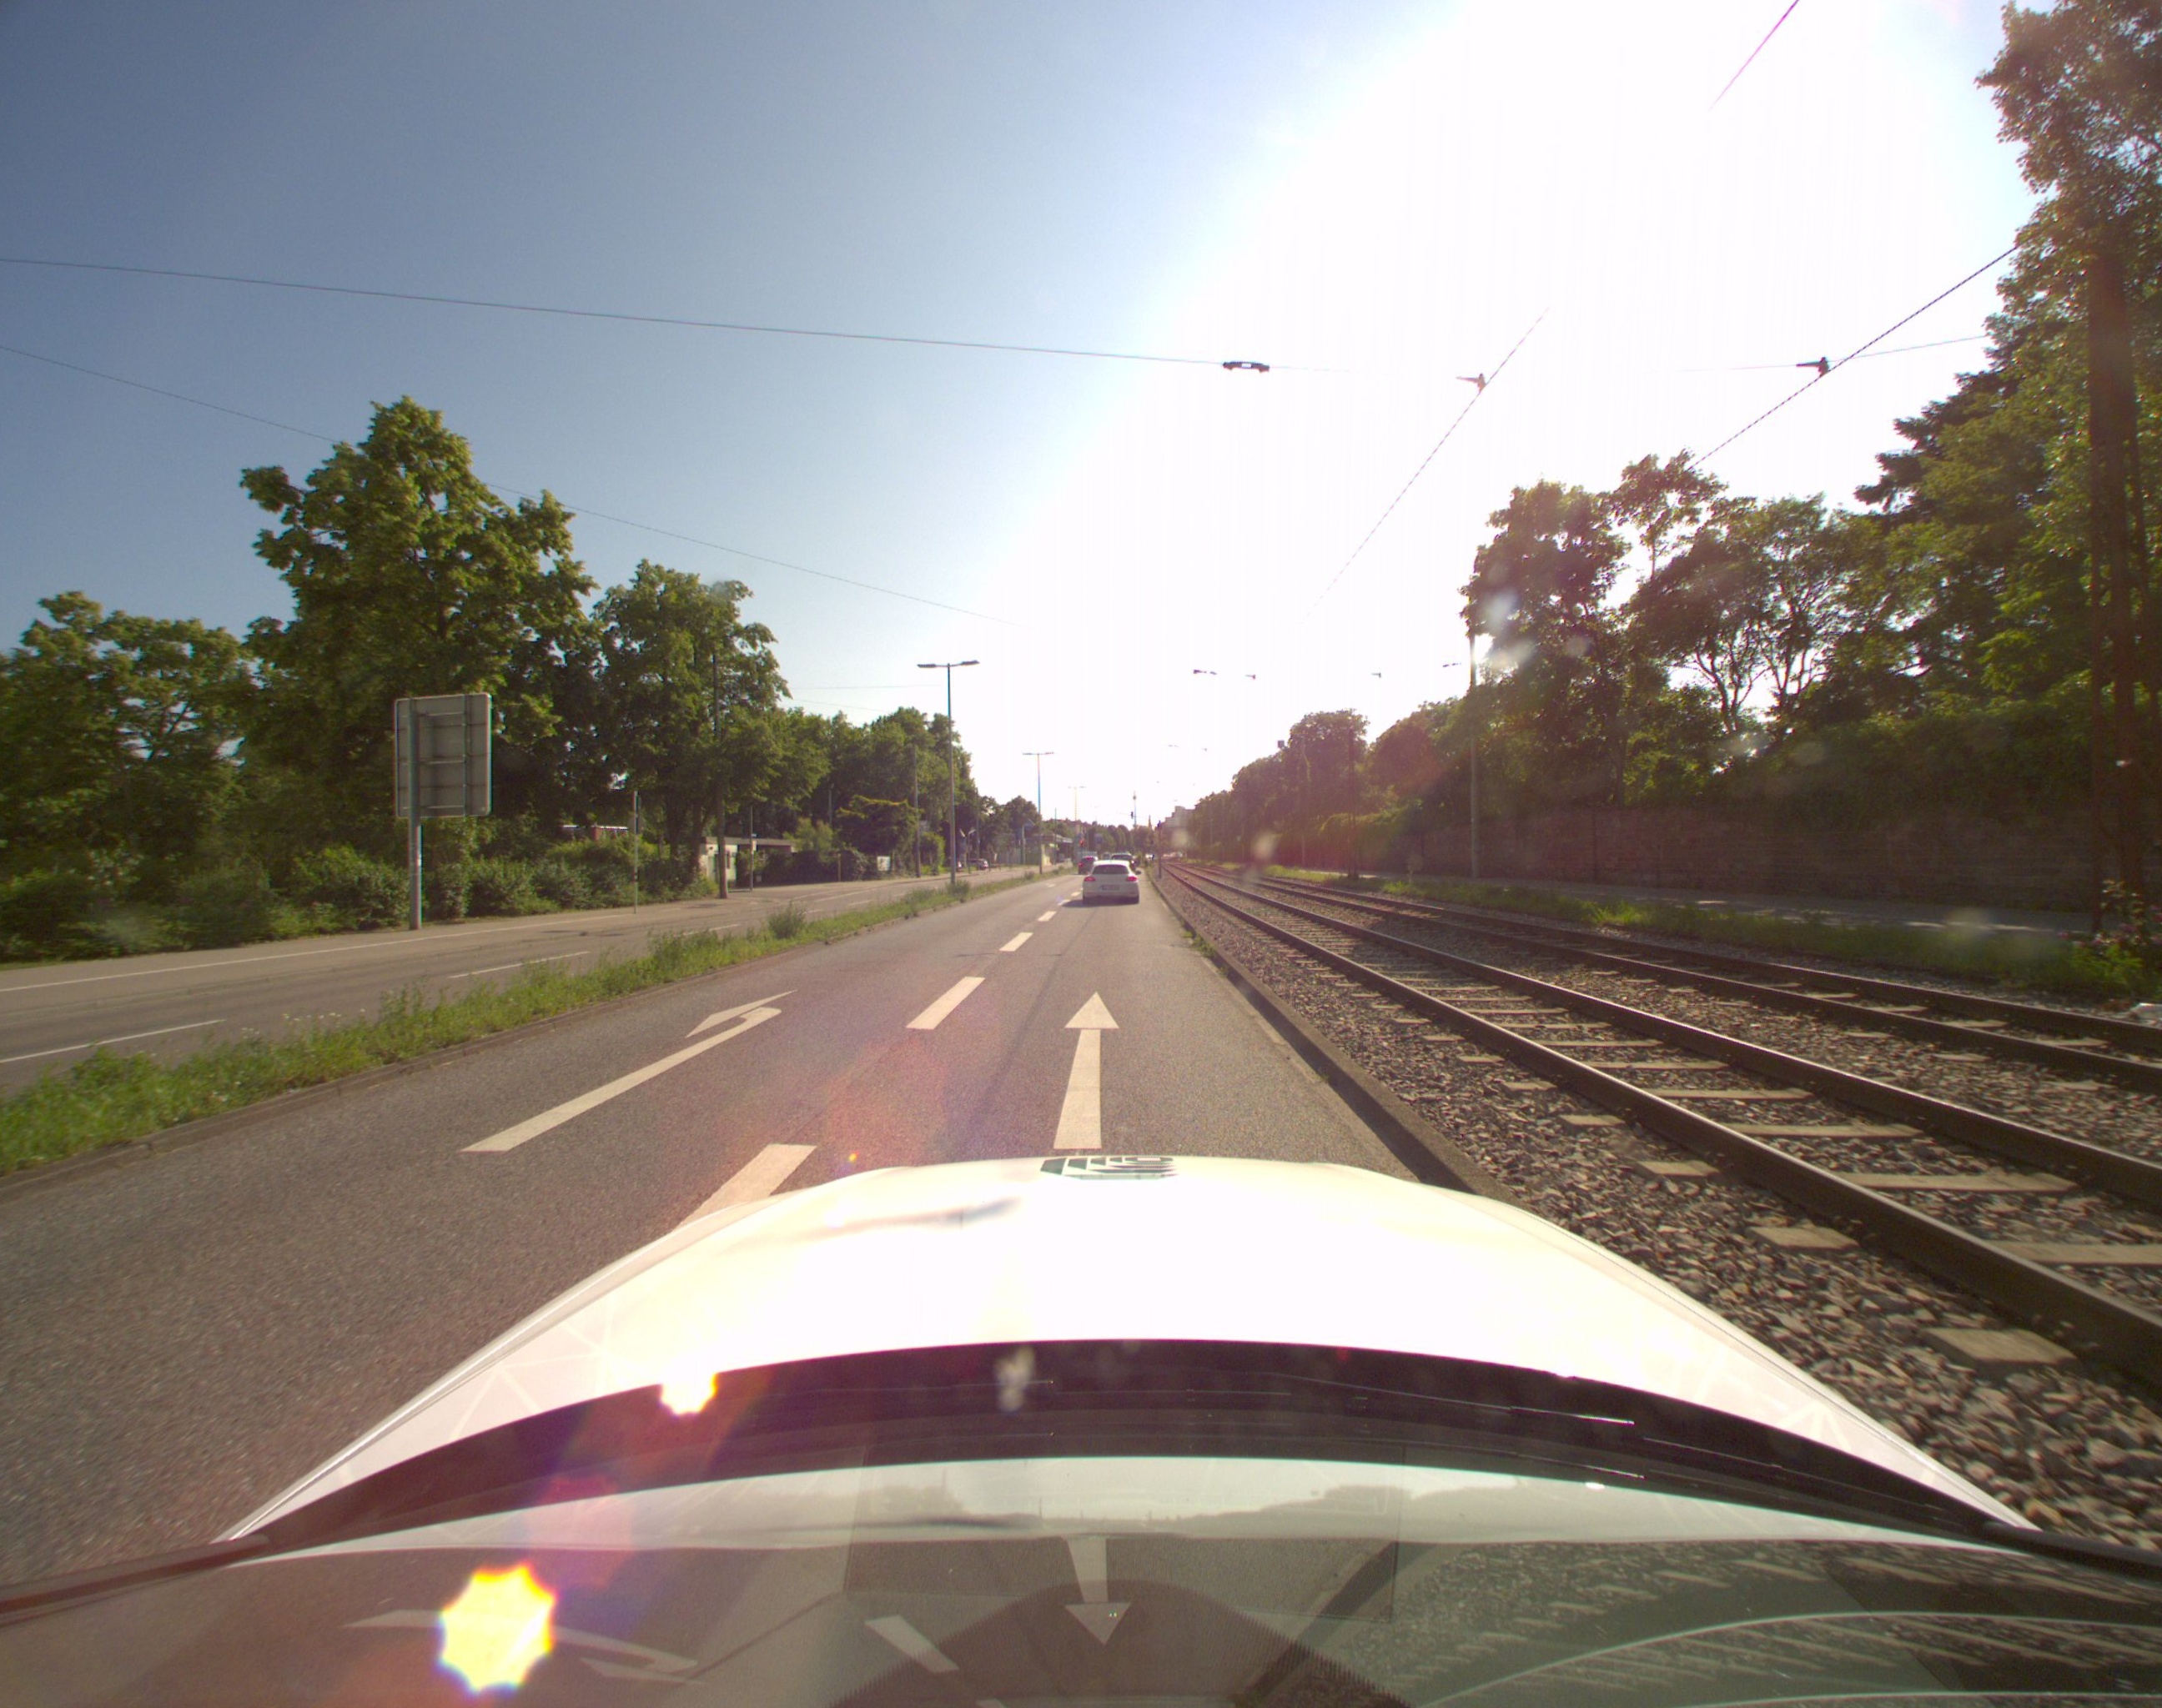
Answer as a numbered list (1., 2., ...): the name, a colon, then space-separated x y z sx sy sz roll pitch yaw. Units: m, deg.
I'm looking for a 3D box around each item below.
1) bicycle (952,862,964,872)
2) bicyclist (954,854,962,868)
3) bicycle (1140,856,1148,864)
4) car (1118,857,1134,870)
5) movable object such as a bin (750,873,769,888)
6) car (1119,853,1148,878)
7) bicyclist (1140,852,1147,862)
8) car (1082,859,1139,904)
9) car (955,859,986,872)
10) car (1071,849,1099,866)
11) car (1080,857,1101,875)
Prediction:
1. bicycle: -13.617 1.477 90.280 0.658 1.049 2.586 -1 0 8
2. bicyclist: -13.639 0.787 90.337 0.658 1.452 1.053 -1 -1 8
3. bicycle: 9.171 0.917 118.800 0.638 1.154 1.946 -2 0 19
4. car: 5.089 1.079 92.427 1.743 1.486 3.601 0 0 1
5. movable object such as a bin: -21.003 1.709 53.211 0.813 0.931 0.854 -2 0 3
6. car: 3.405 0.737 53.009 1.718 1.593 3.601 0 0 1
7. bicyclist: 9.137 0.499 118.752 0.638 1.416 1.017 -2 0 19
8. car: 0.973 0.858 26.969 1.774 1.356 3.602 0 0 2
9. car: -15.582 1.596 114.975 3.919 1.734 1.658 1 -1 5
10. car: 0.481 0.474 101.285 1.826 1.963 4.368 -1 -1 -23
11. car: 0.806 1.003 68.877 1.754 1.486 4.645 0 0 1
